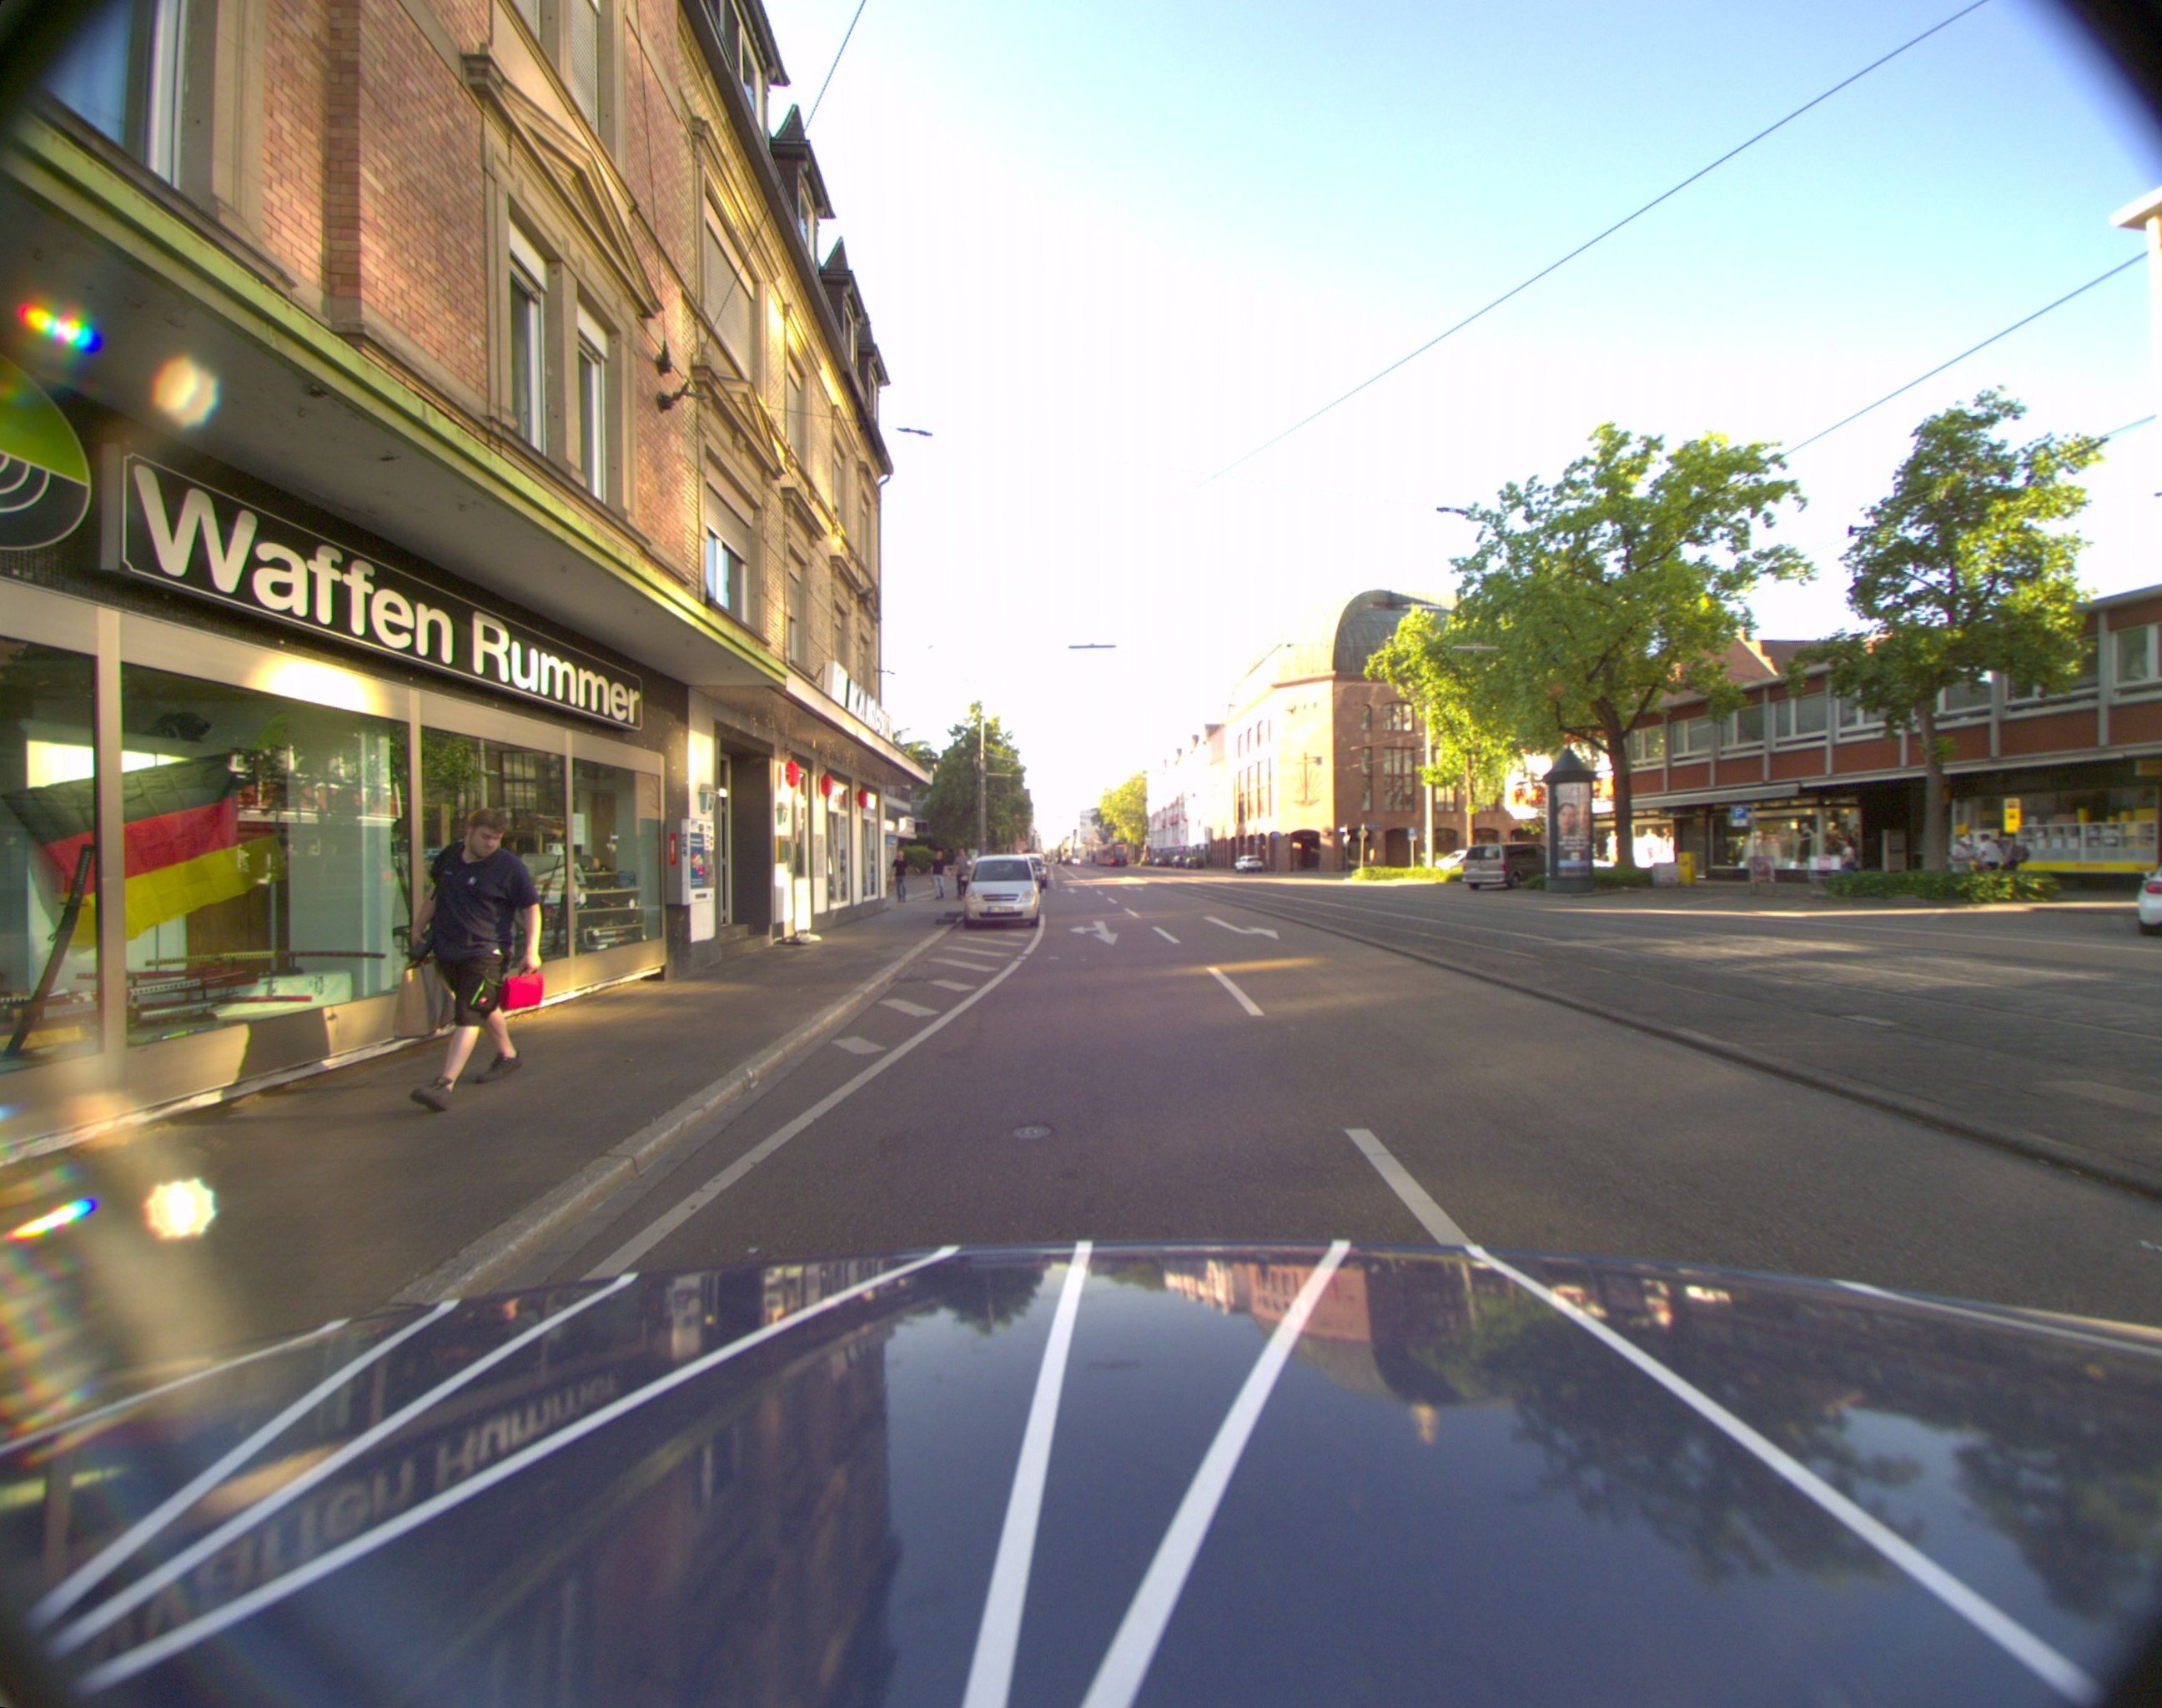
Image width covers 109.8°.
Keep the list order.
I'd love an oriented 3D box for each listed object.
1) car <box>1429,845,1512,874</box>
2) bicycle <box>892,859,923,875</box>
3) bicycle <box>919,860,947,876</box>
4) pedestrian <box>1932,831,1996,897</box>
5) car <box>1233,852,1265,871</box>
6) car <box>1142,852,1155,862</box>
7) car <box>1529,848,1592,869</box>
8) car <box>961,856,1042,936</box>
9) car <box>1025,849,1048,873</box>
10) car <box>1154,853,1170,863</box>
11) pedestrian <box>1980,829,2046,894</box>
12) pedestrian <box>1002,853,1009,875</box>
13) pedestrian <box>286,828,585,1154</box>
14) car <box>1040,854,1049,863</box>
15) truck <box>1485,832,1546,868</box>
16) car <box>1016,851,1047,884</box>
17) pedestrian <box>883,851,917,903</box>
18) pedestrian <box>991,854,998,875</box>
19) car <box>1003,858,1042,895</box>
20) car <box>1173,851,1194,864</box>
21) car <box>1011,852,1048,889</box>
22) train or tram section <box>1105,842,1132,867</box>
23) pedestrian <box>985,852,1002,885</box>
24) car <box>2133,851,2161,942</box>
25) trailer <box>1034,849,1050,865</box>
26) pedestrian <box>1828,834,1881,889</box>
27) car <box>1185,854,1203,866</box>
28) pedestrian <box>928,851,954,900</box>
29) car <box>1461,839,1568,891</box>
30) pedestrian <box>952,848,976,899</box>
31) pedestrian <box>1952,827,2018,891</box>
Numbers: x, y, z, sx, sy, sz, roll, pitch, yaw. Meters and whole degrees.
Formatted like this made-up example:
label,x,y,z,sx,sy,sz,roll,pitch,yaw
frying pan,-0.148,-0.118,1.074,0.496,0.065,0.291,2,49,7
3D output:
label,x,y,z,sx,sy,sz,roll,pitch,yaw
car,28.543,0.389,55.739,4.993,1.957,2.130,-1,3,-4
bicycle,-11.928,0.895,52.365,2.020,1.089,0.637,1,0,-9
bicycle,-10.390,0.989,53.328,1.886,1.090,0.469,0,1,-4
pedestrian,25.790,0.282,22.211,0.917,1.867,0.902,0,1,26
car,15.528,0.653,70.381,1.600,1.581,4.276,-3,0,-4
car,12.293,0.458,138.820,1.931,1.787,4.383,-1,0,1
car,38.041,0.343,60.413,1.856,1.564,4.528,-1,0,-7
car,-1.783,0.883,17.828,1.642,1.605,3.943,-1,0,-4
car,-4.035,0.616,69.579,1.882,2.009,4.904,-2,0,-2
car,13.052,0.627,122.964,1.829,1.500,4.559,-2,0,-2
pedestrian,27.240,0.205,22.219,0.920,1.867,0.899,-1,1,-15
pedestrian,-6.021,0.812,60.539,0.494,1.703,0.437,2,1,-3
pedestrian,-3.873,0.752,4.688,0.949,1.782,1.054,0,1,-3
car,-5.868,0.692,123.523,1.420,1.425,3.871,-2,0,-3
truck,34.331,-0.287,60.155,1.856,2.747,4.528,-1,0,-7
car,-2.904,0.772,44.919,1.680,1.797,4.247,-2,0,-3
pedestrian,-6.154,0.757,25.903,0.903,1.703,1.032,2,0,-3
pedestrian,-6.900,0.839,60.634,0.494,1.703,0.437,2,1,-3
car,-2.674,0.982,34.972,1.642,1.484,3.793,-3,0,-4
car,13.942,0.482,103.921,1.964,1.690,4.559,-2,0,-4
car,-2.678,0.796,40.208,1.825,1.747,4.473,-2,1,-3
train or tram section,5.393,0.037,111.416,2.683,3.530,12.837,0,0,-3
pedestrian,-4.638,0.764,40.208,0.789,1.728,0.945,-1,1,-3
car,20.672,0.716,13.714,4.276,1.421,1.762,-3,1,-33
trailer,-5.301,0.379,103.722,1.784,2.136,5.315,-2,0,0
pedestrian,26.523,0.247,26.069,0.919,1.867,0.900,-1,1,-5
car,14.411,0.788,97.043,1.646,1.392,3.682,-2,0,-2
pedestrian,-5.120,0.781,27.897,0.813,1.746,1.032,0,1,-3
car,18.593,0.419,32.484,5.130,1.918,1.849,-3,2,-34
pedestrian,-4.349,0.712,28.339,0.796,1.888,1.032,0,1,-3
pedestrian,28.168,0.156,23.683,0.996,1.937,0.900,-1,1,-5
